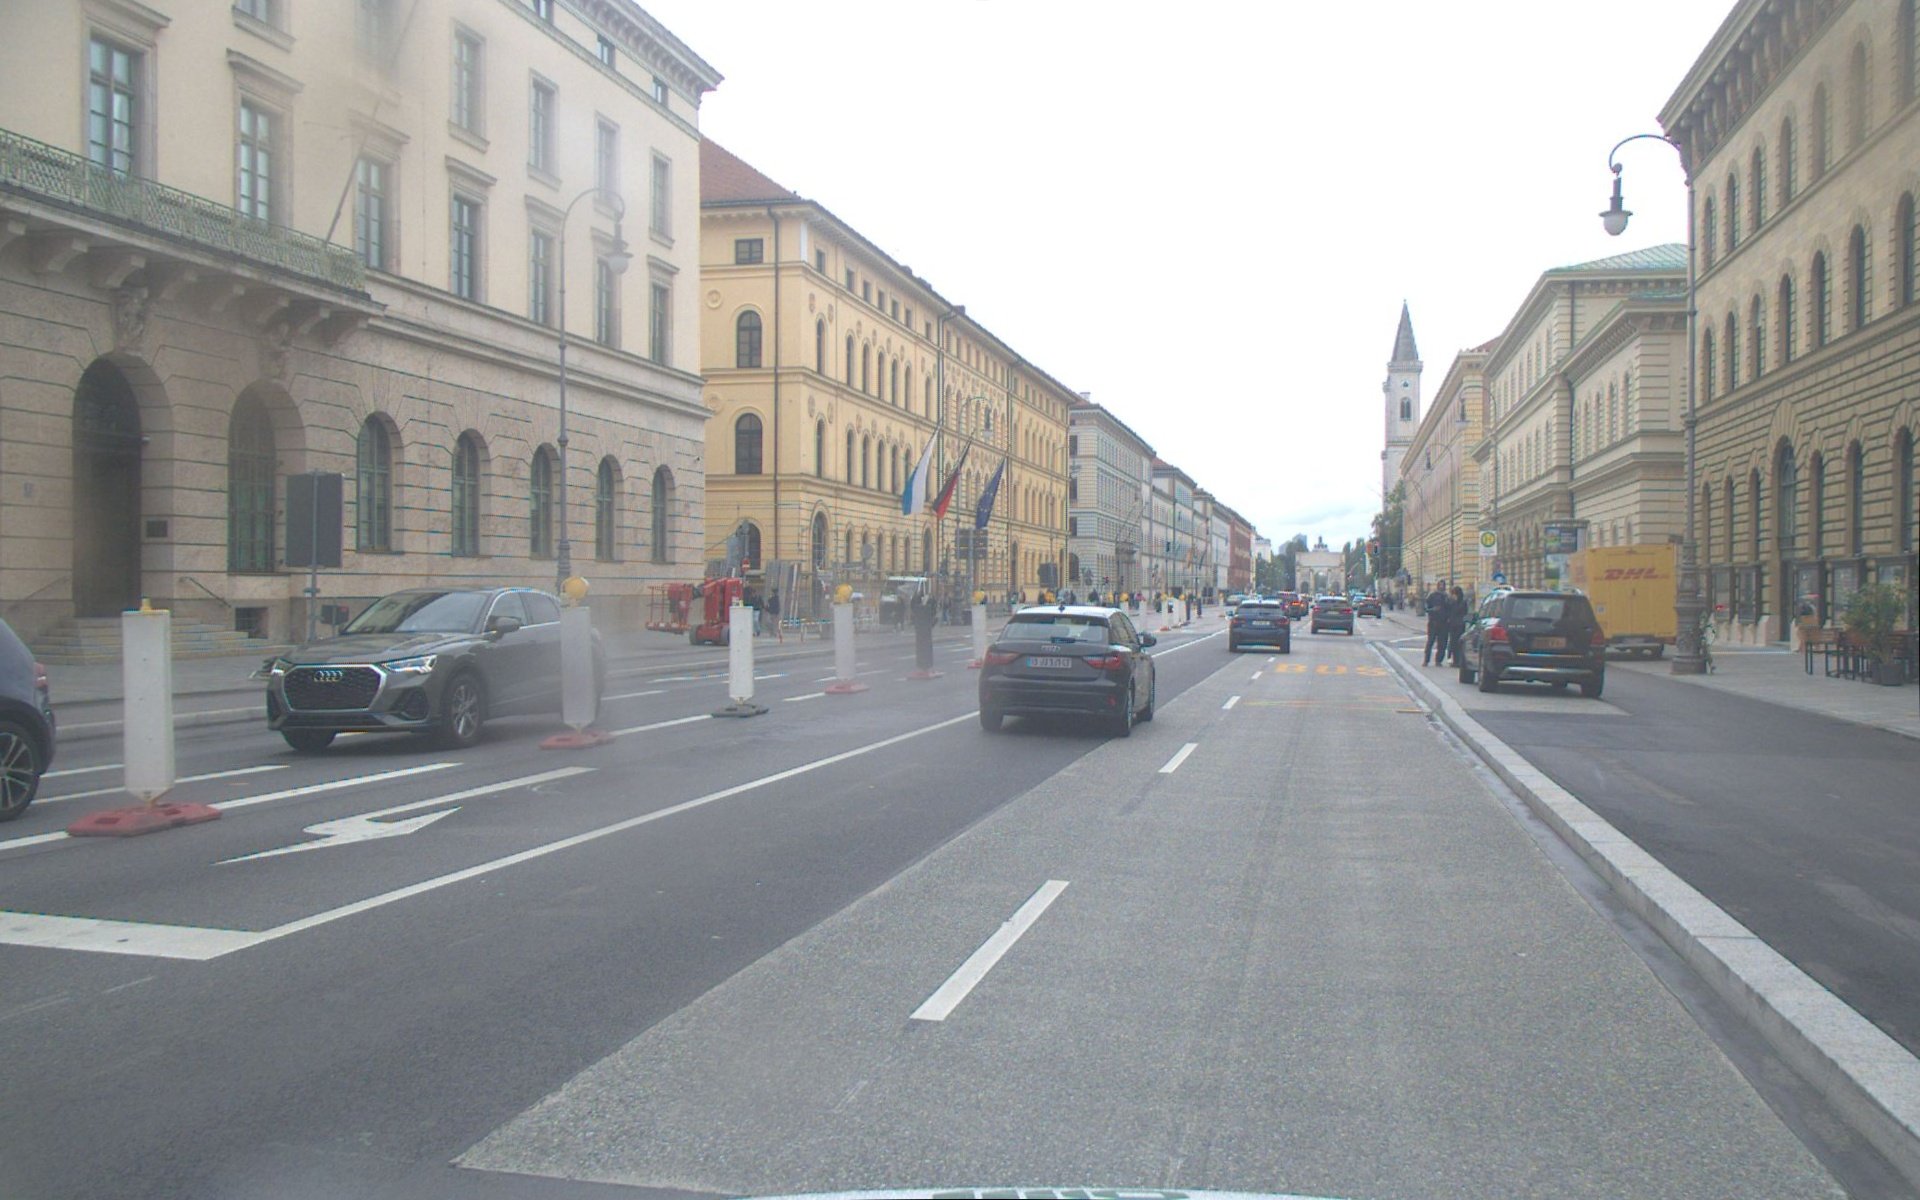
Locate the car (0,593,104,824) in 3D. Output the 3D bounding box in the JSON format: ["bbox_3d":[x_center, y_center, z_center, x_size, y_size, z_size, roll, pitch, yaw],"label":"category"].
[{"bbox_3d":[-6.954,0.661,9.065,1.706,1.413,4.244,-1,-1,12],"label":"car"}]

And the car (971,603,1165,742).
[{"bbox_3d":[1.387,0.768,19.642,1.823,1.412,4.003,1,0,10],"label":"car"}]

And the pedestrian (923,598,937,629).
[{"bbox_3d":[-1.395,0.614,76.330,0.528,1.435,0.618,1,-1,9],"label":"pedestrian"}]

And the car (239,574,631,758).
[{"bbox_3d":[-5.124,0.591,16.909,1.747,1.594,4.580,-2,0,12],"label":"car"}]

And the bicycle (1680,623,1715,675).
[{"bbox_3d":[15.315,1.015,34.363,0.507,1.040,1.651,0,-1,19],"label":"bicycle"}]

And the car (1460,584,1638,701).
[{"bbox_3d":[9.461,0.635,26.917,2.024,1.691,4.226,1,0,10],"label":"car"}]

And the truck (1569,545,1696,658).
[{"bbox_3d":[17.926,0.077,44.413,2.567,2.813,5.810,1,-1,16],"label":"truck"}]

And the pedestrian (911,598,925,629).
[{"bbox_3d":[-1.944,0.627,76.436,0.528,1.431,0.618,1,-1,9],"label":"pedestrian"}]

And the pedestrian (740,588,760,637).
[{"bbox_3d":[-7.393,0.443,58.280,0.540,1.705,0.618,1,-1,9],"label":"pedestrian"}]

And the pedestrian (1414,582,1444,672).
[{"bbox_3d":[10.166,0.582,35.815,0.602,1.908,0.541,0,-1,17],"label":"pedestrian"}]

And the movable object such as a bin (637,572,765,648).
[{"bbox_3d":[-7.365,0.325,47.732,1.479,2.049,5.980,1,-1,13],"label":"movable object such as a bin"}]

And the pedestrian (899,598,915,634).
[{"bbox_3d":[-2.305,0.681,72.041,0.540,1.557,0.618,1,-1,9],"label":"pedestrian"}]

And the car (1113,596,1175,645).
[{"bbox_3d":[6.591,0.743,58.953,1.731,1.645,4.003,1,-1,13],"label":"car"}]

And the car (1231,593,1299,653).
[{"bbox_3d":[8.870,0.681,47.943,1.731,1.645,4.003,1,-1,13],"label":"car"}]

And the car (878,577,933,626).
[{"bbox_3d":[-2.650,0.077,81.261,1.701,2.329,4.003,1,-1,13],"label":"car"}]

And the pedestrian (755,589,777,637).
[{"bbox_3d":[-6.812,0.456,58.169,0.599,1.681,0.618,1,-1,9],"label":"pedestrian"}]

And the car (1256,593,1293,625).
[{"bbox_3d":[18.126,0.506,95.170,1.951,1.803,4.003,0,0,13],"label":"car"}]

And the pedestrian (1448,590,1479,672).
[{"bbox_3d":[10.838,0.667,35.605,0.602,1.732,0.541,0,-1,16],"label":"pedestrian"}]

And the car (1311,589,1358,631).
[{"bbox_3d":[16.348,0.422,72.214,1.951,1.803,4.003,0,0,13],"label":"car"}]

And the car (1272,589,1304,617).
[{"bbox_3d":[21.772,0.206,109.599,1.951,1.803,4.003,0,0,13],"label":"car"}]

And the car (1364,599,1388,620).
[{"bbox_3d":[33.926,0.790,135.005,1.820,1.606,4.003,1,-1,13],"label":"car"}]

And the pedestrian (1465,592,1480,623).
[{"bbox_3d":[28.919,0.435,93.332,0.780,1.720,0.801,1,-1,13],"label":"pedestrian"}]

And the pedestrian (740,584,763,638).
[{"bbox_3d":[-7.729,0.402,61.372,0.665,1.965,0.653,1,-1,9],"label":"pedestrian"}]
